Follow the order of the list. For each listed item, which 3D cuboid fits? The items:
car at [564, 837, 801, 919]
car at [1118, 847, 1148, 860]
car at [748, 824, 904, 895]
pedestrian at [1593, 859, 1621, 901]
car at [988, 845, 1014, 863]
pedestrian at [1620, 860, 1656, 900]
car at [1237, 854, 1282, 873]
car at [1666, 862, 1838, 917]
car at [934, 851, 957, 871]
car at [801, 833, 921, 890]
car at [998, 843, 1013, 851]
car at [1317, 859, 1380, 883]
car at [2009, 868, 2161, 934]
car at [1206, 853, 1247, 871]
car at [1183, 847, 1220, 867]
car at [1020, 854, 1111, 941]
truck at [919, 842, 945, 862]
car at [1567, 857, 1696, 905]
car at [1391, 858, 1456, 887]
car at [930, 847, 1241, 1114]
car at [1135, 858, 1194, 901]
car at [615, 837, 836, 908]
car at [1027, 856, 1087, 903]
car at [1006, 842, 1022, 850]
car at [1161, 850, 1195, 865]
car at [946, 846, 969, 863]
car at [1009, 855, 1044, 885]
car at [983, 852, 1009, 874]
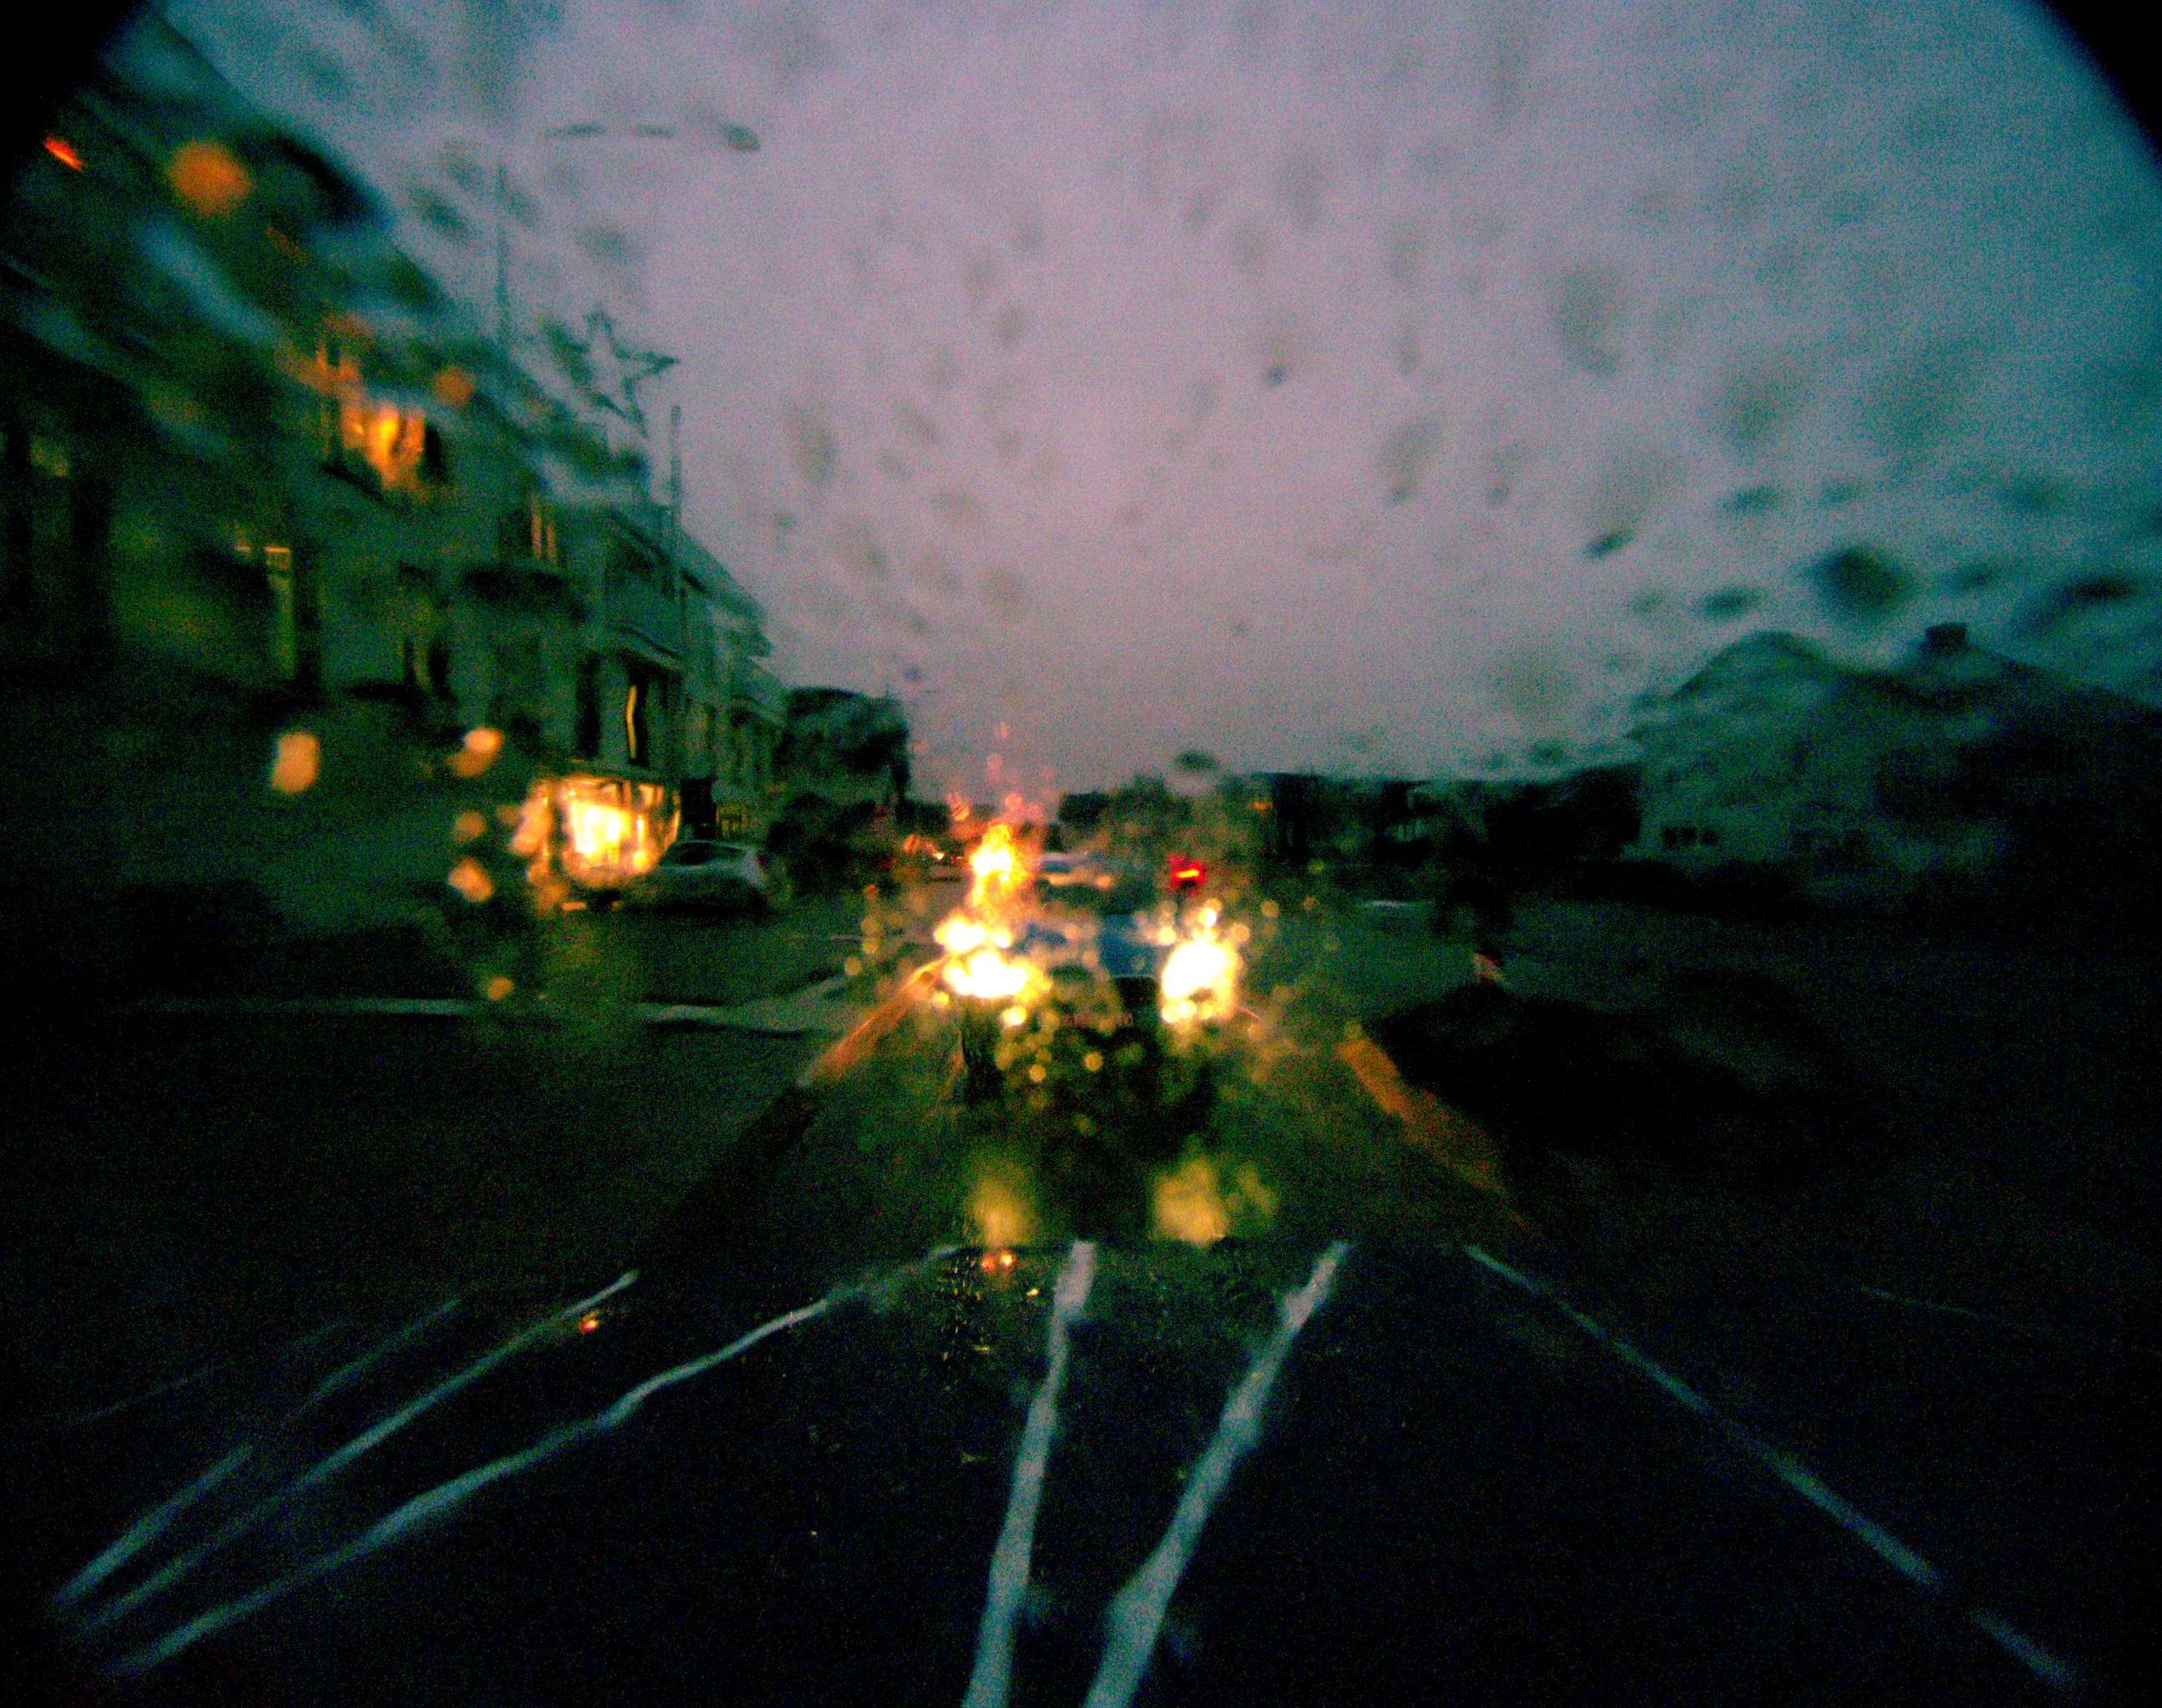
[{"bbox_3d":[-8.060,0.478,15.762,4.002,1.495,1.811,2,2,-13],"label":"car"},{"bbox_3d":[6.061,-0.102,89.172,1.802,1.460,4.607,0,1,-20],"label":"car"},{"bbox_3d":[-8.480,0.198,25.665,4.554,1.923,1.973,5,0,-7],"label":"car"},{"bbox_3d":[16.619,0.812,24.024,0.512,1.294,0.601,-1,1,-40],"label":"pedestrian"},{"bbox_3d":[-9.160,-0.062,86.694,2.002,2.002,3.992,-1,1,-22],"label":"car"},{"bbox_3d":[17.720,0.816,24.185,0.693,1.242,0.602,0,1,-7],"label":"pedestrian"},{"bbox_3d":[14.614,0.792,62.454,1.801,1.460,4.250,1,1,-16],"label":"car"},{"bbox_3d":[22.107,1.109,25.275,1.780,1.560,4.090,0,1,-9],"label":"car"},{"bbox_3d":[-11.367,0.561,63.638,1.849,1.577,3.765,0,0,-10],"label":"car"},{"bbox_3d":[-8.402,0.295,29.379,4.154,1.625,1.753,8,-1,-12],"label":"car"},{"bbox_3d":[-13.873,-1.247,139.417,1.802,1.460,4.249,0,1,-20],"label":"car"},{"bbox_3d":[17.660,1.111,50.403,1.801,1.460,4.250,1,1,-16],"label":"car"},{"bbox_3d":[30.336,1.391,22.543,4.001,1.673,1.715,3,2,-11],"label":"car"},{"bbox_3d":[12.899,0.674,67.712,1.801,1.460,4.250,1,1,-16],"label":"car"},{"bbox_3d":[11.469,0.283,72.419,1.801,1.816,4.250,1,1,-17],"label":"car"},{"bbox_3d":[-0.439,0.824,16.188,1.682,1.614,3.998,0,0,-5],"label":"car"},{"bbox_3d":[-17.102,-0.226,86.968,2.251,2.218,6.094,-1,1,-18],"label":"truck"},{"bbox_3d":[21.393,0.996,29.735,1.705,1.651,3.955,-1,1,-12],"label":"car"},{"bbox_3d":[19.101,1.000,42.558,1.479,1.500,3.499,1,1,-13],"label":"car"},{"bbox_3d":[-0.133,0.782,6.638,1.889,1.569,3.998,-1,-1,-5],"label":"car"},{"bbox_3d":[2.949,0.861,27.355,1.508,1.403,3.364,0,1,-4],"label":"car"},{"bbox_3d":[-8.637,0.437,18.853,4.522,1.483,1.973,3,1,-7],"label":"car"},{"bbox_3d":[-0.897,0.815,26.305,1.573,1.460,3.613,-1,0,-10],"label":"car"},{"bbox_3d":[-11.866,-1.404,134.463,1.802,1.460,4.249,0,1,-21],"label":"car"},{"bbox_3d":[9.929,0.379,77.931,1.678,1.460,4.010,2,-1,-20],"label":"car"},{"bbox_3d":[-14.238,0.034,87.665,1.726,1.802,4.128,-1,1,-22],"label":"car"},{"bbox_3d":[-2.890,0.804,40.668,1.741,1.434,3.998,-1,1,-4],"label":"car"},{"bbox_3d":[-6.361,0.613,56.572,1.835,1.535,3.712,-1,1,-9],"label":"car"}]
